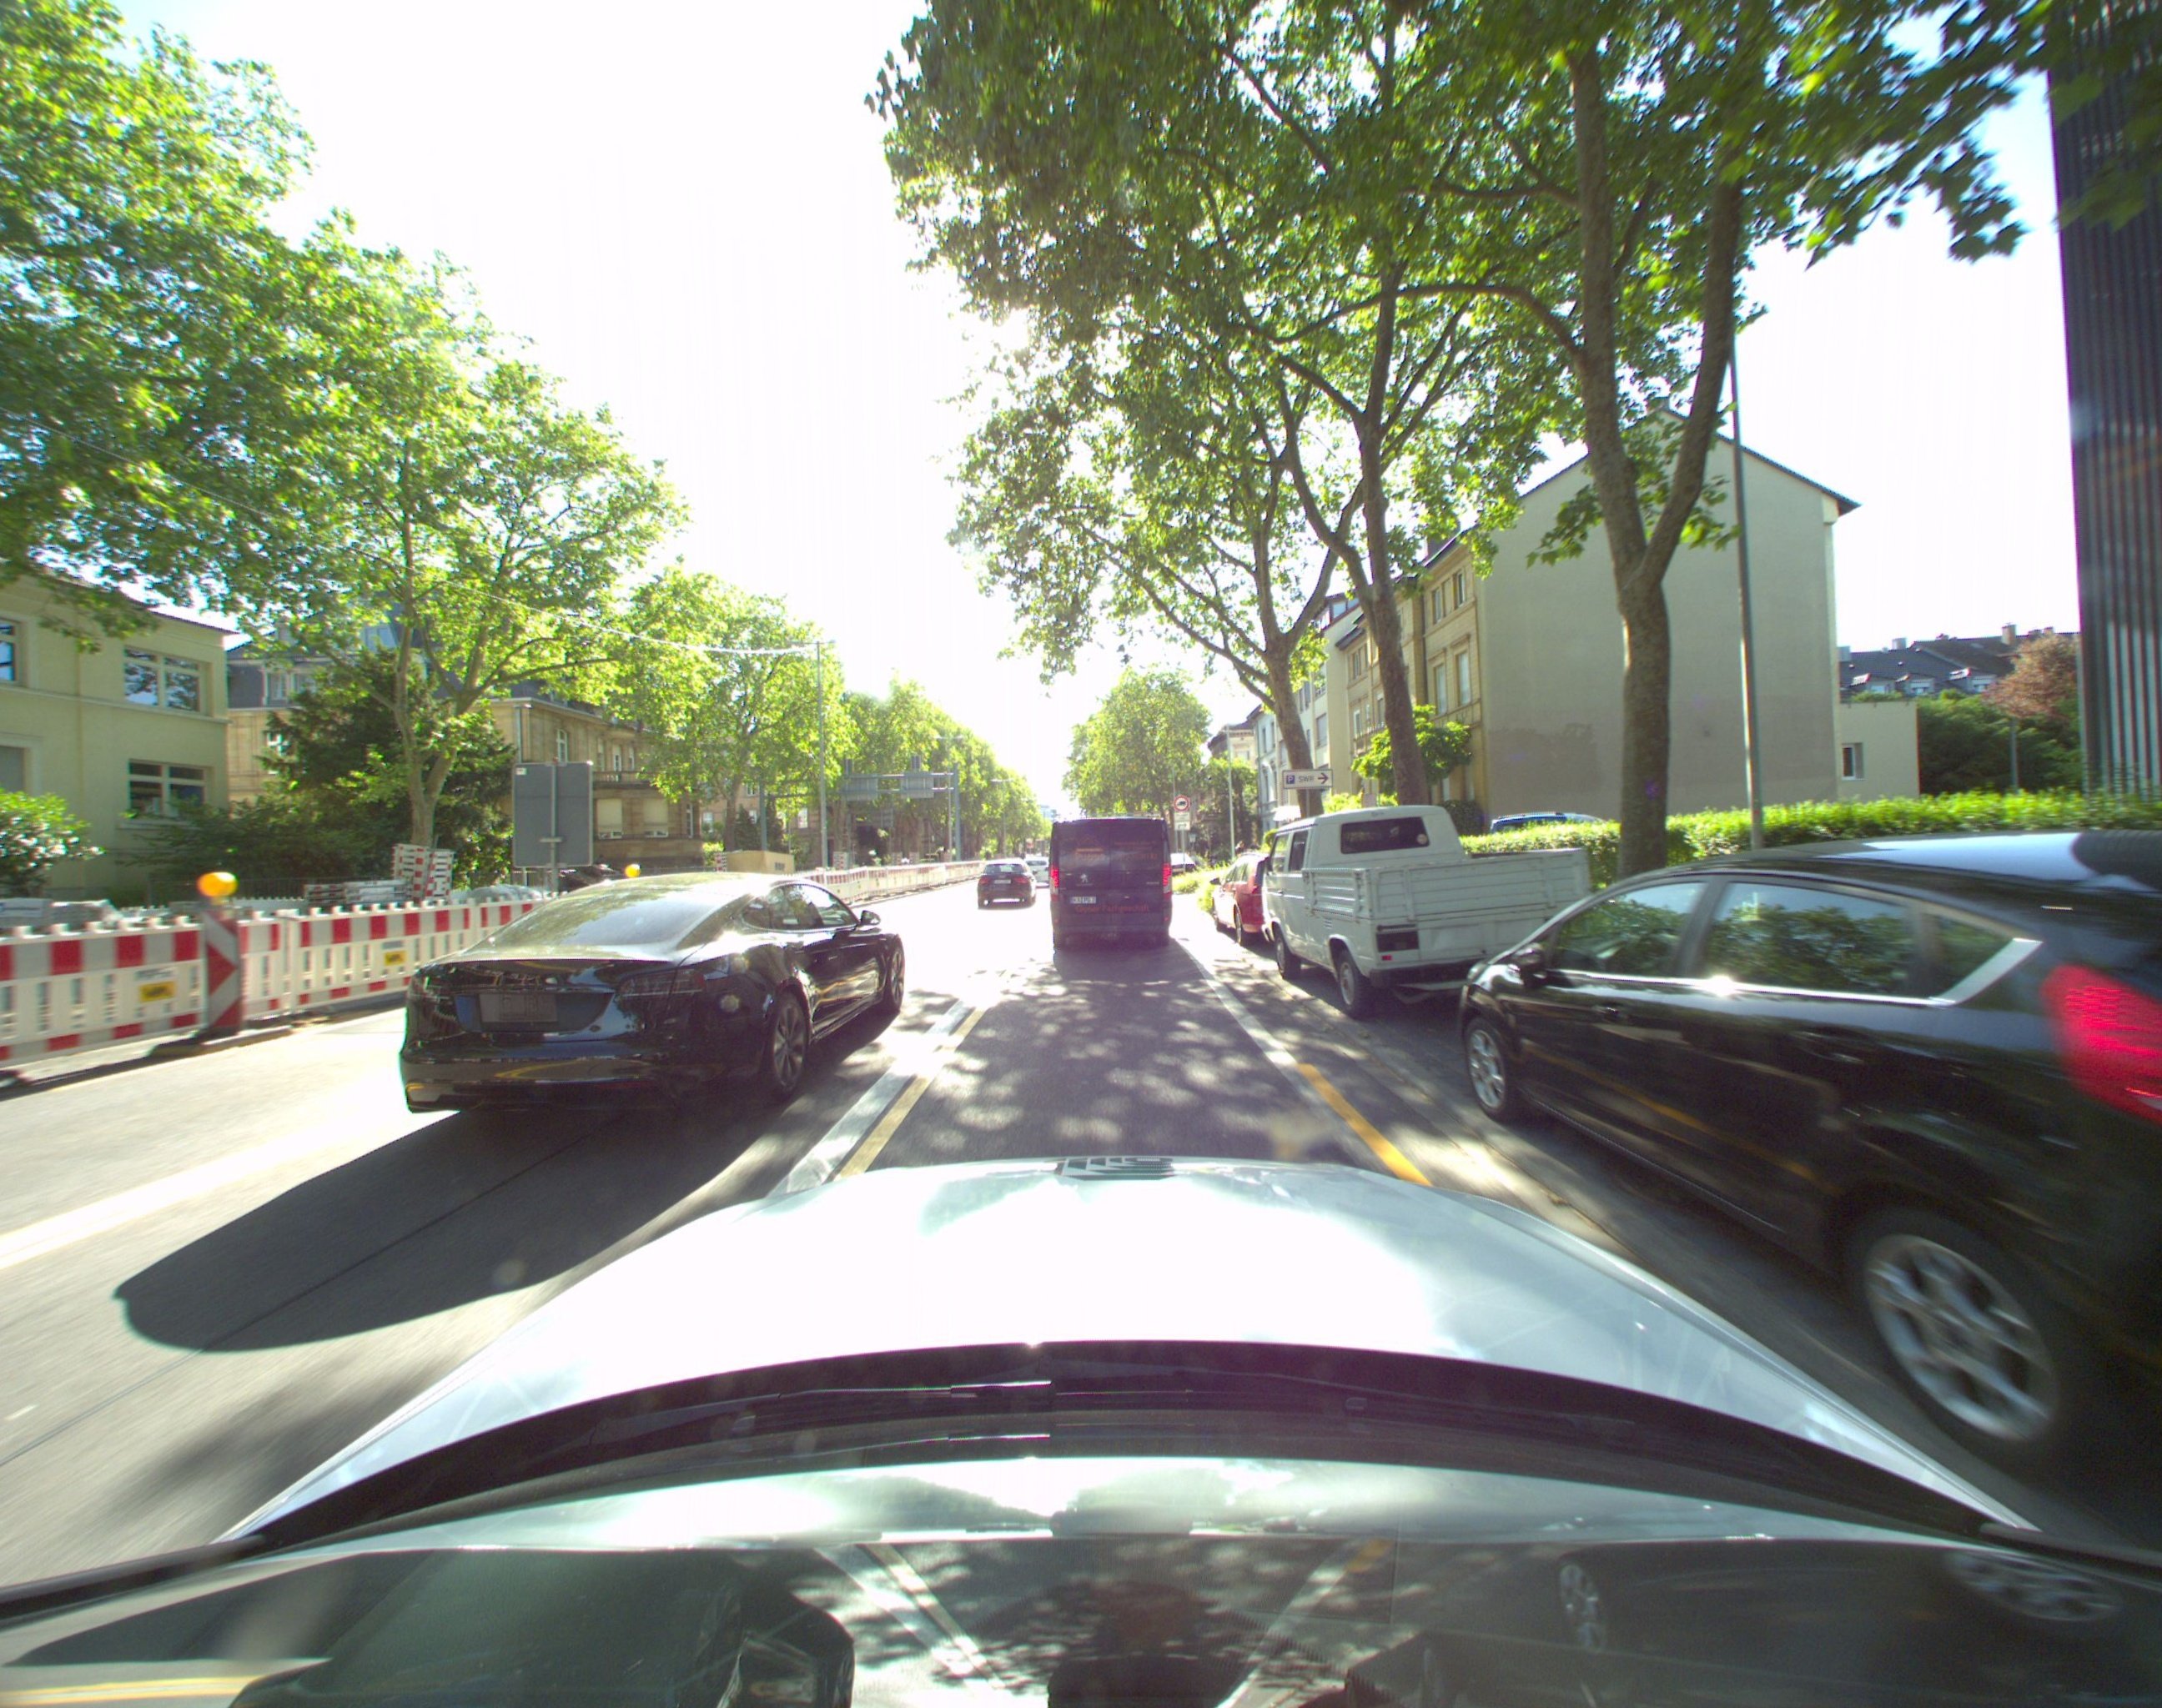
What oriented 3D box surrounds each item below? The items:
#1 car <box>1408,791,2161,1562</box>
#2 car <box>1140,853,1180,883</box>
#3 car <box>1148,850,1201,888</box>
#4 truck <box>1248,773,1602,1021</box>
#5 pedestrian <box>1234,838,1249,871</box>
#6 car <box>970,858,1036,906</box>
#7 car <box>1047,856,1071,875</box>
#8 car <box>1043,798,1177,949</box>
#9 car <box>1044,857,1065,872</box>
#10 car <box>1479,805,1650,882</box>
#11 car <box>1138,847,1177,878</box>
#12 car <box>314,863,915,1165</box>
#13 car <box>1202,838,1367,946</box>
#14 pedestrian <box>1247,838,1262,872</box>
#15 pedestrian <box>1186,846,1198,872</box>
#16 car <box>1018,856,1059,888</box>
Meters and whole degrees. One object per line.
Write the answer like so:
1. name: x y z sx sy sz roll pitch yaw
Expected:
1. car: 3.012 0.587 3.444 1.740 1.477 4.104 -3 0 3
2. car: 3.966 0.677 41.390 1.837 1.408 3.803 -3 0 3
3. car: 3.975 0.617 35.218 1.837 1.442 4.489 -3 0 2
4. truck: 3.193 0.355 8.710 1.870 1.881 4.453 -3 0 0
5. pedestrian: 8.567 0.033 43.519 0.671 1.755 0.877 -3 -1 10
6. car: -2.444 0.855 26.301 1.741 1.407 3.999 -1 0 -1
7. car: -1.494 0.811 57.138 1.415 1.225 3.440 -2 0 2
8. car: 0.481 0.292 14.945 2.088 2.355 3.933 -1 0 0
9. car: -2.819 1.120 88.142 1.986 1.470 4.002 0 1 2
10. car: 12.674 -0.238 21.511 1.715 1.853 3.472 -1 0 -32
11. car: 4.497 0.502 48.174 1.839 1.644 3.799 -3 0 0
12. car: -2.779 0.816 6.340 1.918 1.412 4.627 -1 0 1
13. car: 3.344 0.575 14.354 1.815 1.507 4.679 -3 0 2
14. pedestrian: 9.201 0.040 43.146 0.650 1.755 1.016 -3 0 10
15. pedestrian: 8.599 0.392 62.905 0.794 2.013 1.170 -3 0 6
16. car: -2.060 0.855 40.033 1.541 1.425 3.558 -2 0 4
